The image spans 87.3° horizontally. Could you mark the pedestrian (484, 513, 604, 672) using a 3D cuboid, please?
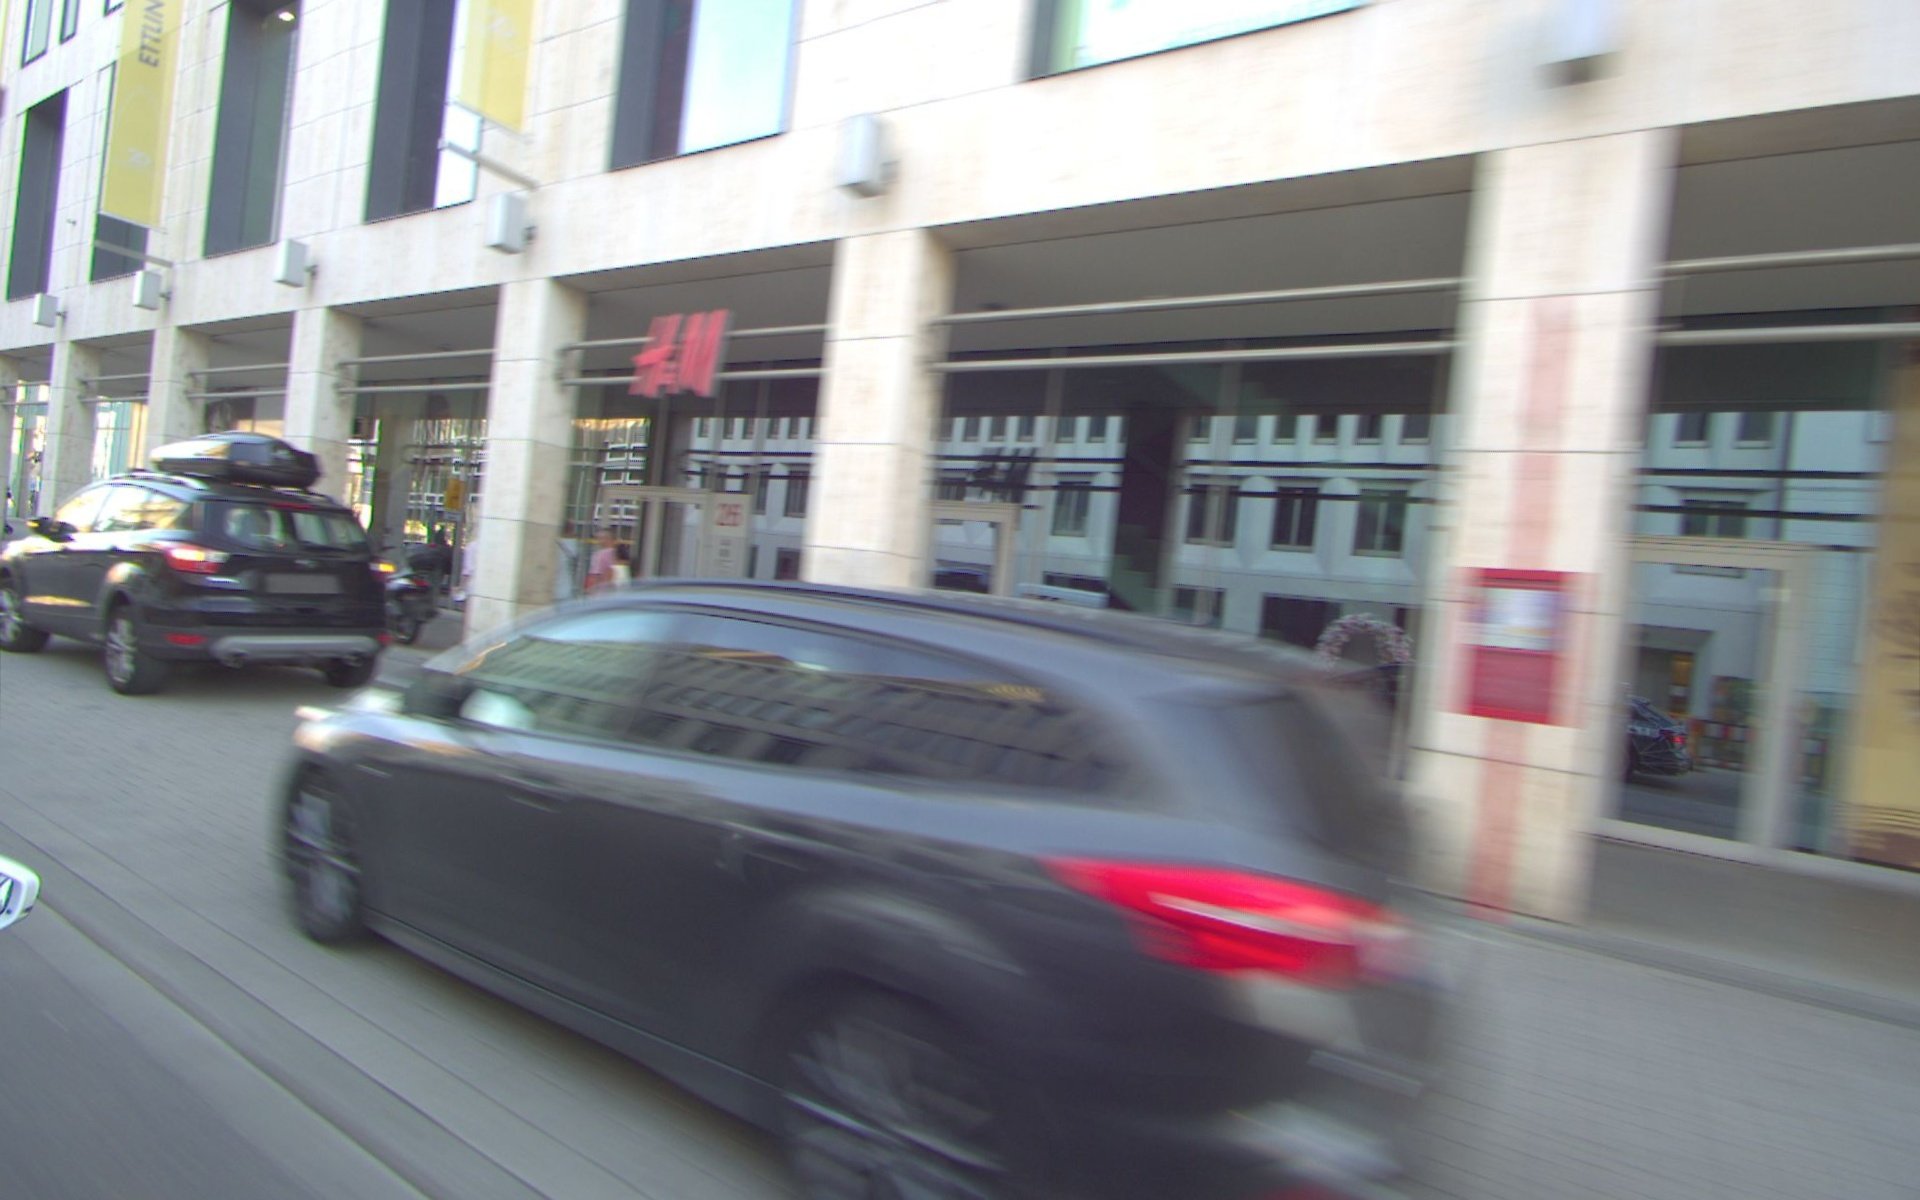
[{"bbox_3d":[-4.866,-0.078,11.774,0.862,1.702,0.765,9,2,32],"label":"pedestrian"}]

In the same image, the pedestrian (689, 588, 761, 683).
[{"bbox_3d":[-2.972,0.451,12.710,0.592,1.111,0.487,9,2,32],"label":"pedestrian"}]

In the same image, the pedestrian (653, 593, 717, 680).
[{"bbox_3d":[-3.389,0.453,12.399,0.517,0.998,0.420,9,2,32],"label":"pedestrian"}]

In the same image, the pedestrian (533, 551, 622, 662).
[{"bbox_3d":[-5.112,0.093,13.450,0.762,1.363,0.634,9,2,32],"label":"pedestrian"}]

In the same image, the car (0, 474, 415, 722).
[{"bbox_3d":[-6.795,-0.132,8.875,3.991,1.660,1.767,6,3,33],"label":"car"}]

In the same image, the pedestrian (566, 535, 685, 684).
[{"bbox_3d":[-3.887,0.116,11.695,0.862,1.587,0.765,9,2,32],"label":"pedestrian"}]

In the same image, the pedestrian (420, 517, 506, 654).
[{"bbox_3d":[-6.567,-0.187,13.300,0.684,1.720,0.591,7,1,30],"label":"pedestrian"}]

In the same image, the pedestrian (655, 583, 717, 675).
[{"bbox_3d":[-3.565,0.379,13.093,0.517,1.111,0.420,9,2,32],"label":"pedestrian"}]

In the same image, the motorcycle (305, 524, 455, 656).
[{"bbox_3d":[-7.353,-0.143,12.712,2.102,1.434,0.693,7,0,35],"label":"motorcycle"}]

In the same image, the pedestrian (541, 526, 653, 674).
[{"bbox_3d":[-4.521,0.010,12.541,0.862,1.702,0.765,9,2,32],"label":"pedestrian"}]

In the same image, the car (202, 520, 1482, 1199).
[{"bbox_3d":[-0.670,0.652,3.476,4.125,1.510,1.794,6,3,33],"label":"car"}]
